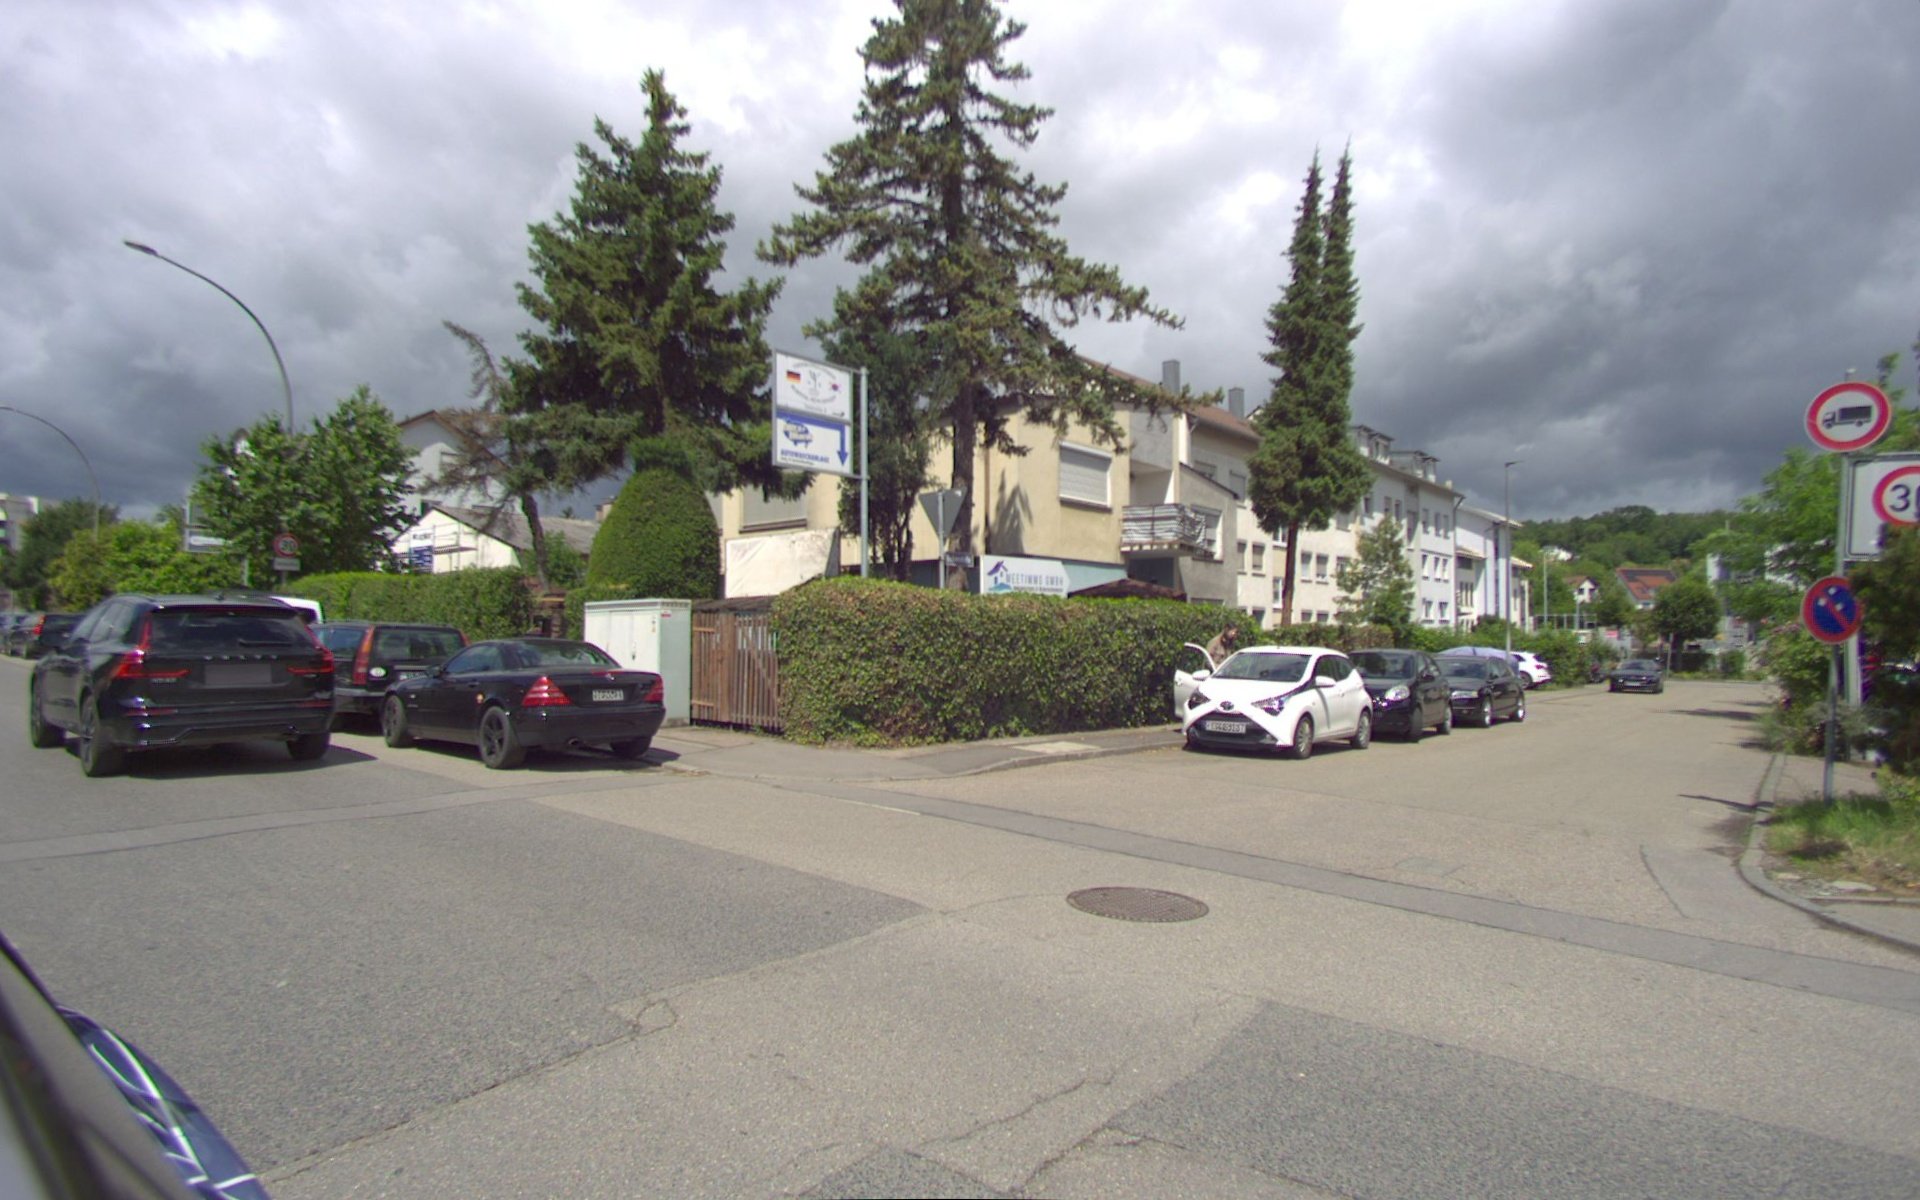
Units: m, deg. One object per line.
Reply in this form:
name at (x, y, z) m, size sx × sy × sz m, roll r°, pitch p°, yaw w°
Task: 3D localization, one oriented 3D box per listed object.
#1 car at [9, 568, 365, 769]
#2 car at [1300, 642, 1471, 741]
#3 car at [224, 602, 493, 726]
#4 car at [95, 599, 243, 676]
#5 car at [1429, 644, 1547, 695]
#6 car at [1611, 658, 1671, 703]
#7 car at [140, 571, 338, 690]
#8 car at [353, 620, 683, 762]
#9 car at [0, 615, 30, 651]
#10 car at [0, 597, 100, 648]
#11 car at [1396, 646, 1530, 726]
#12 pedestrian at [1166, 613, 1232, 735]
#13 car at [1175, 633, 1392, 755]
car at (-8.066, 0.636, 10.417) m, size 4.408 × 1.628 × 1.973 m, roll -1°, pitch -4°, yaw 40°
car at (7.435, 1.537, 17.497) m, size 1.842 × 1.489 × 3.631 m, roll -1°, pitch -4°, yaw 38°
car at (-8.572, 0.869, 14.251) m, size 4.640 × 1.483 × 1.726 m, roll -1°, pitch -5°, yaw 40°
car at (-17.199, 0.827, 21.953) m, size 3.996 × 1.498 × 1.623 m, roll -1°, pitch -5°, yaw 40°
car at (20.930, 2.717, 40.142) m, size 3.988 × 1.807 × 1.978 m, roll -1°, pitch 0°, yaw 33°
car at (29.765, 3.464, 44.199) m, size 1.996 × 1.586 × 3.951 m, roll -1°, pitch 0°, yaw 37°
car at (-12.916, 0.578, 18.038) m, size 4.352 × 1.852 × 1.726 m, roll -1°, pitch -5°, yaw 40°
car at (-5.040, 0.936, 11.312) m, size 4.112 × 1.314 × 1.614 m, roll -1°, pitch -5°, yaw 39°
car at (-39.435, 1.336, 41.289) m, size 4.335 × 1.425 × 1.645 m, roll -2°, pitch -4°, yaw 41°
car at (-29.190, 0.747, 32.383) m, size 4.730 × 1.504 × 1.702 m, roll -1°, pitch -3°, yaw 39°
car at (10.684, 1.789, 21.381) m, size 1.842 × 1.489 × 3.631 m, roll -1°, pitch -4°, yaw 38°
pedestrian at (3.514, 1.072, 14.898) m, size 0.621 × 1.747 × 0.686 m, roll 3°, pitch -2°, yaw -28°
car at (4.652, 1.287, 14.276) m, size 1.613 × 1.489 × 3.515 m, roll -1°, pitch -5°, yaw 42°
